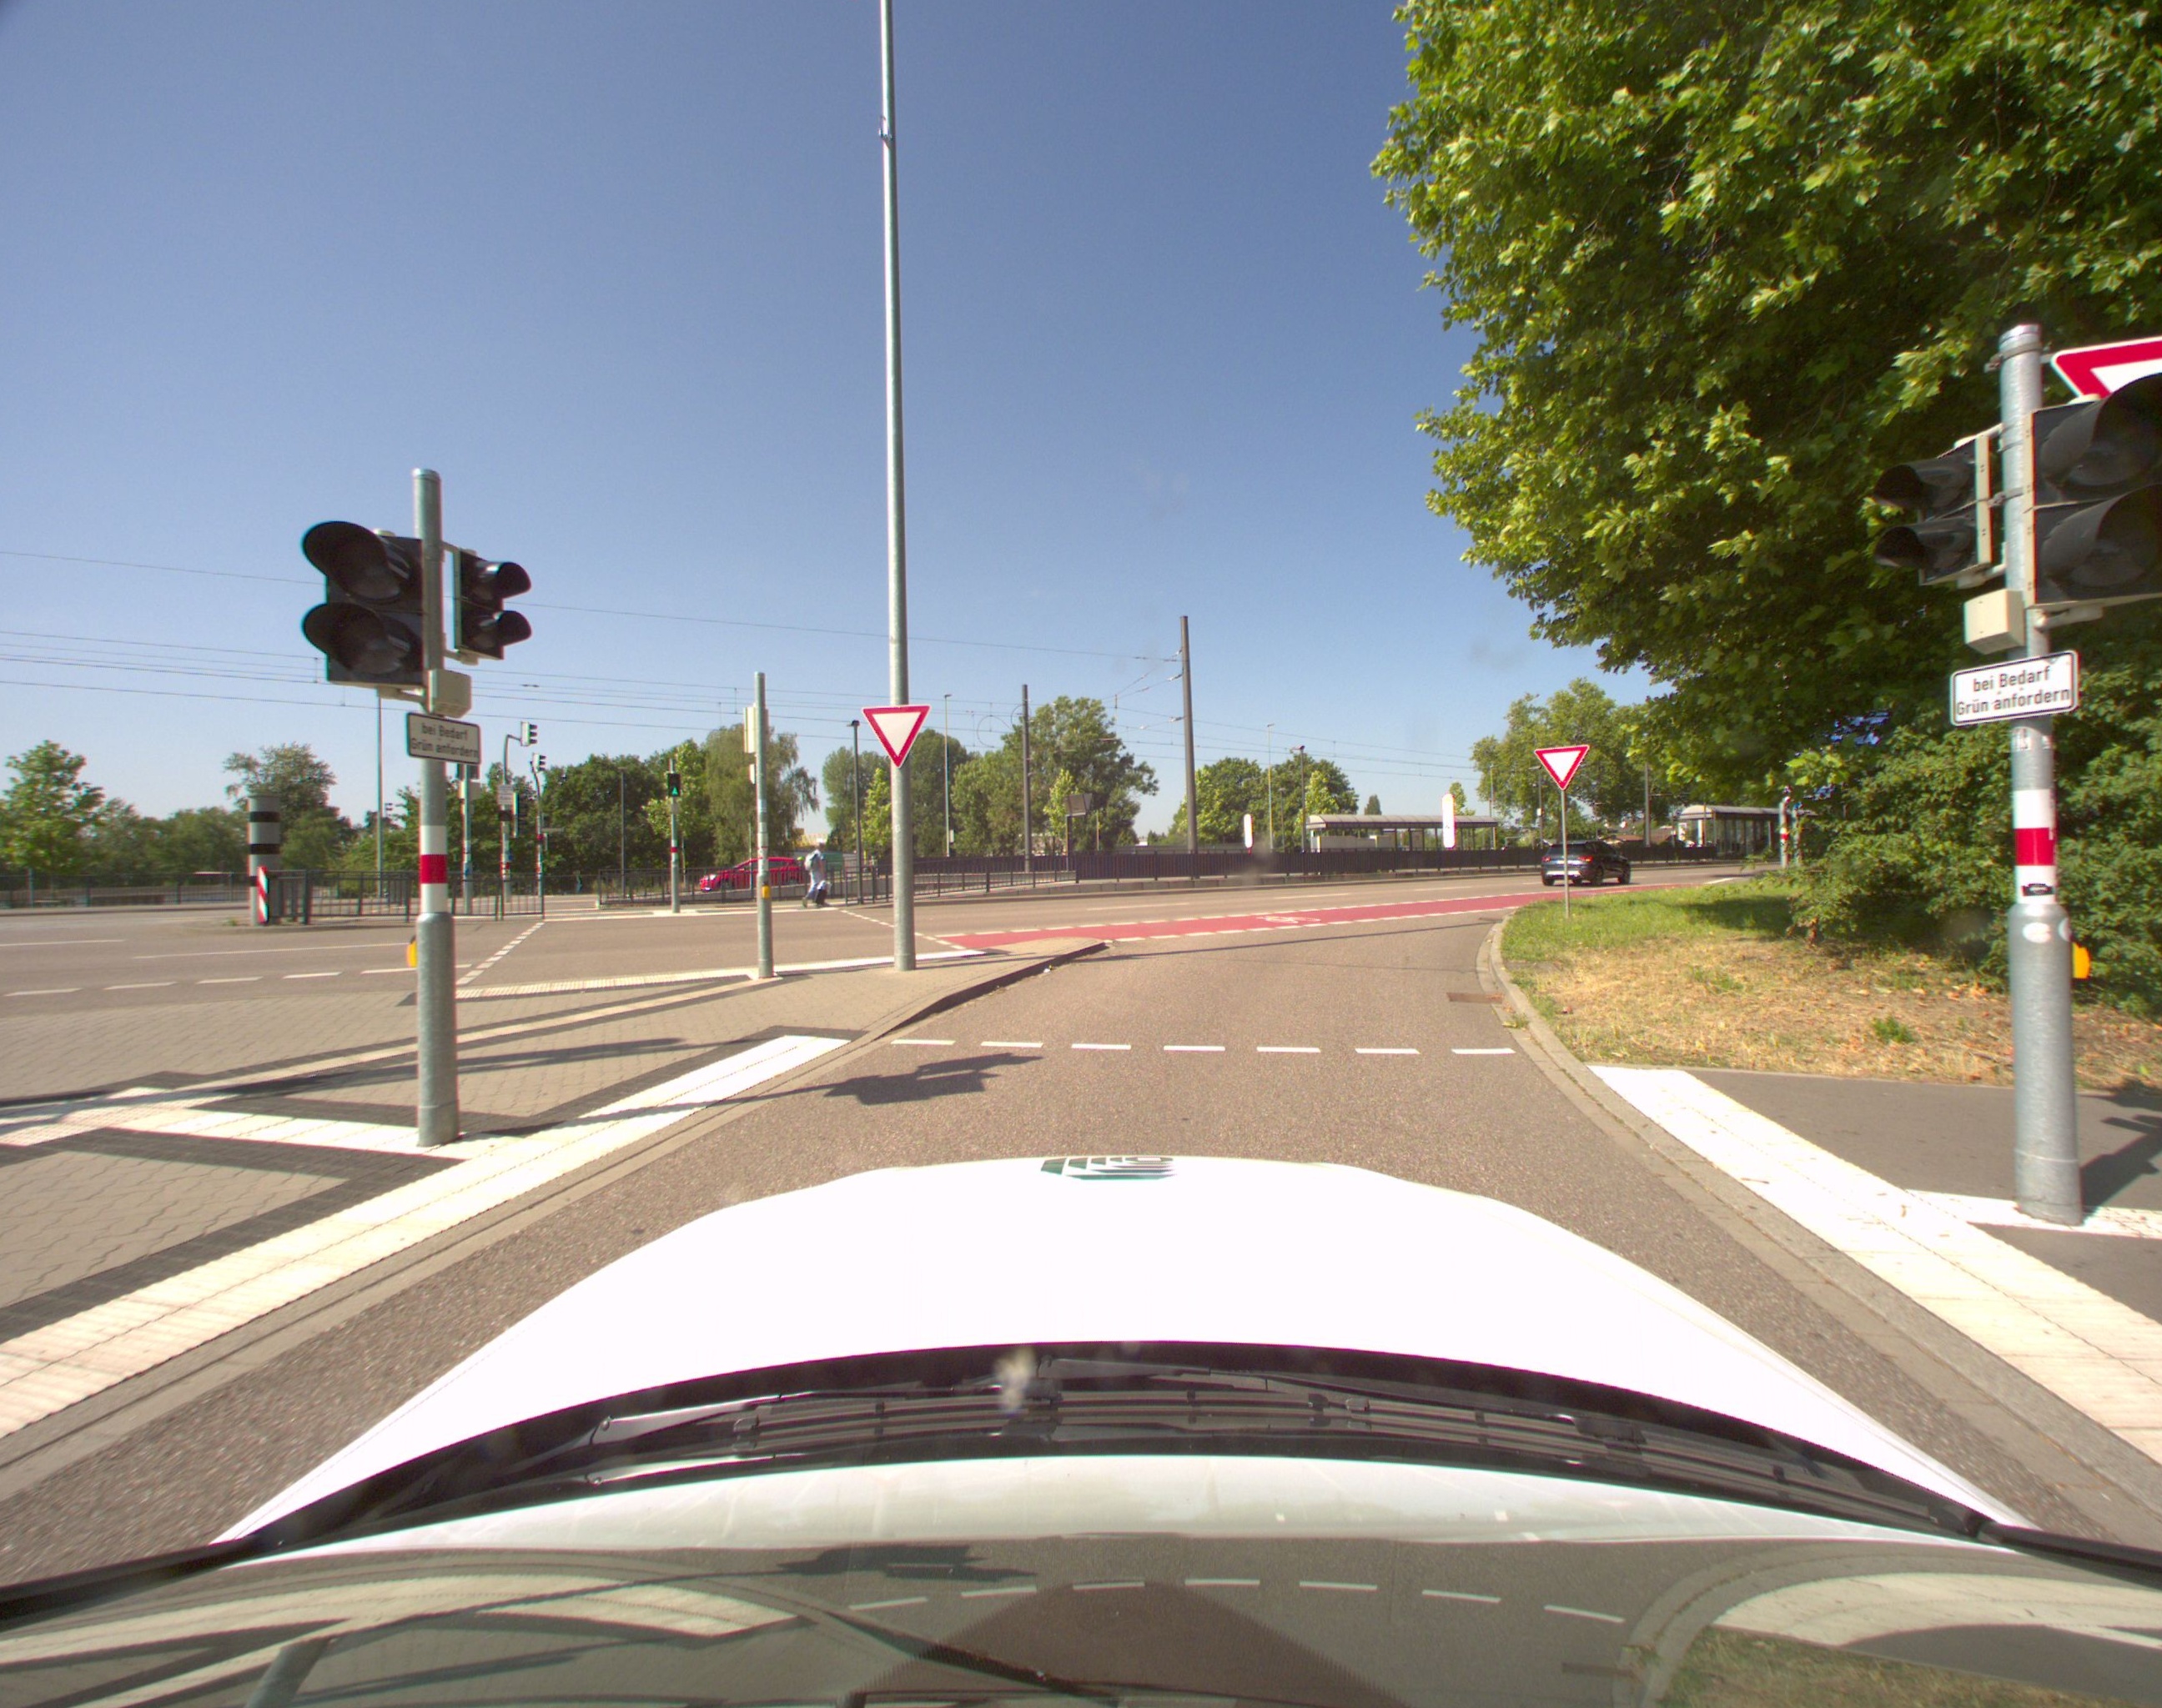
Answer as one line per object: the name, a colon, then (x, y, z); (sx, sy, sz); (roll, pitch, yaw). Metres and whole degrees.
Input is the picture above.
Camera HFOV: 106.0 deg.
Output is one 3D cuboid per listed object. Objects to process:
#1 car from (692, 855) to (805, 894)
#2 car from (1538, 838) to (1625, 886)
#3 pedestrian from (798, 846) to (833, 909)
car: (-13.453, 0.801, 33.041); (4.014, 1.445, 1.729); (-1, 0, -32)
car: (16.999, 0.256, 27.598); (3.395, 1.523, 1.655); (0, -1, -43)
pedestrian: (-6.588, 0.560, 20.234); (0.775, 1.510, 1.001); (-1, 1, -19)
